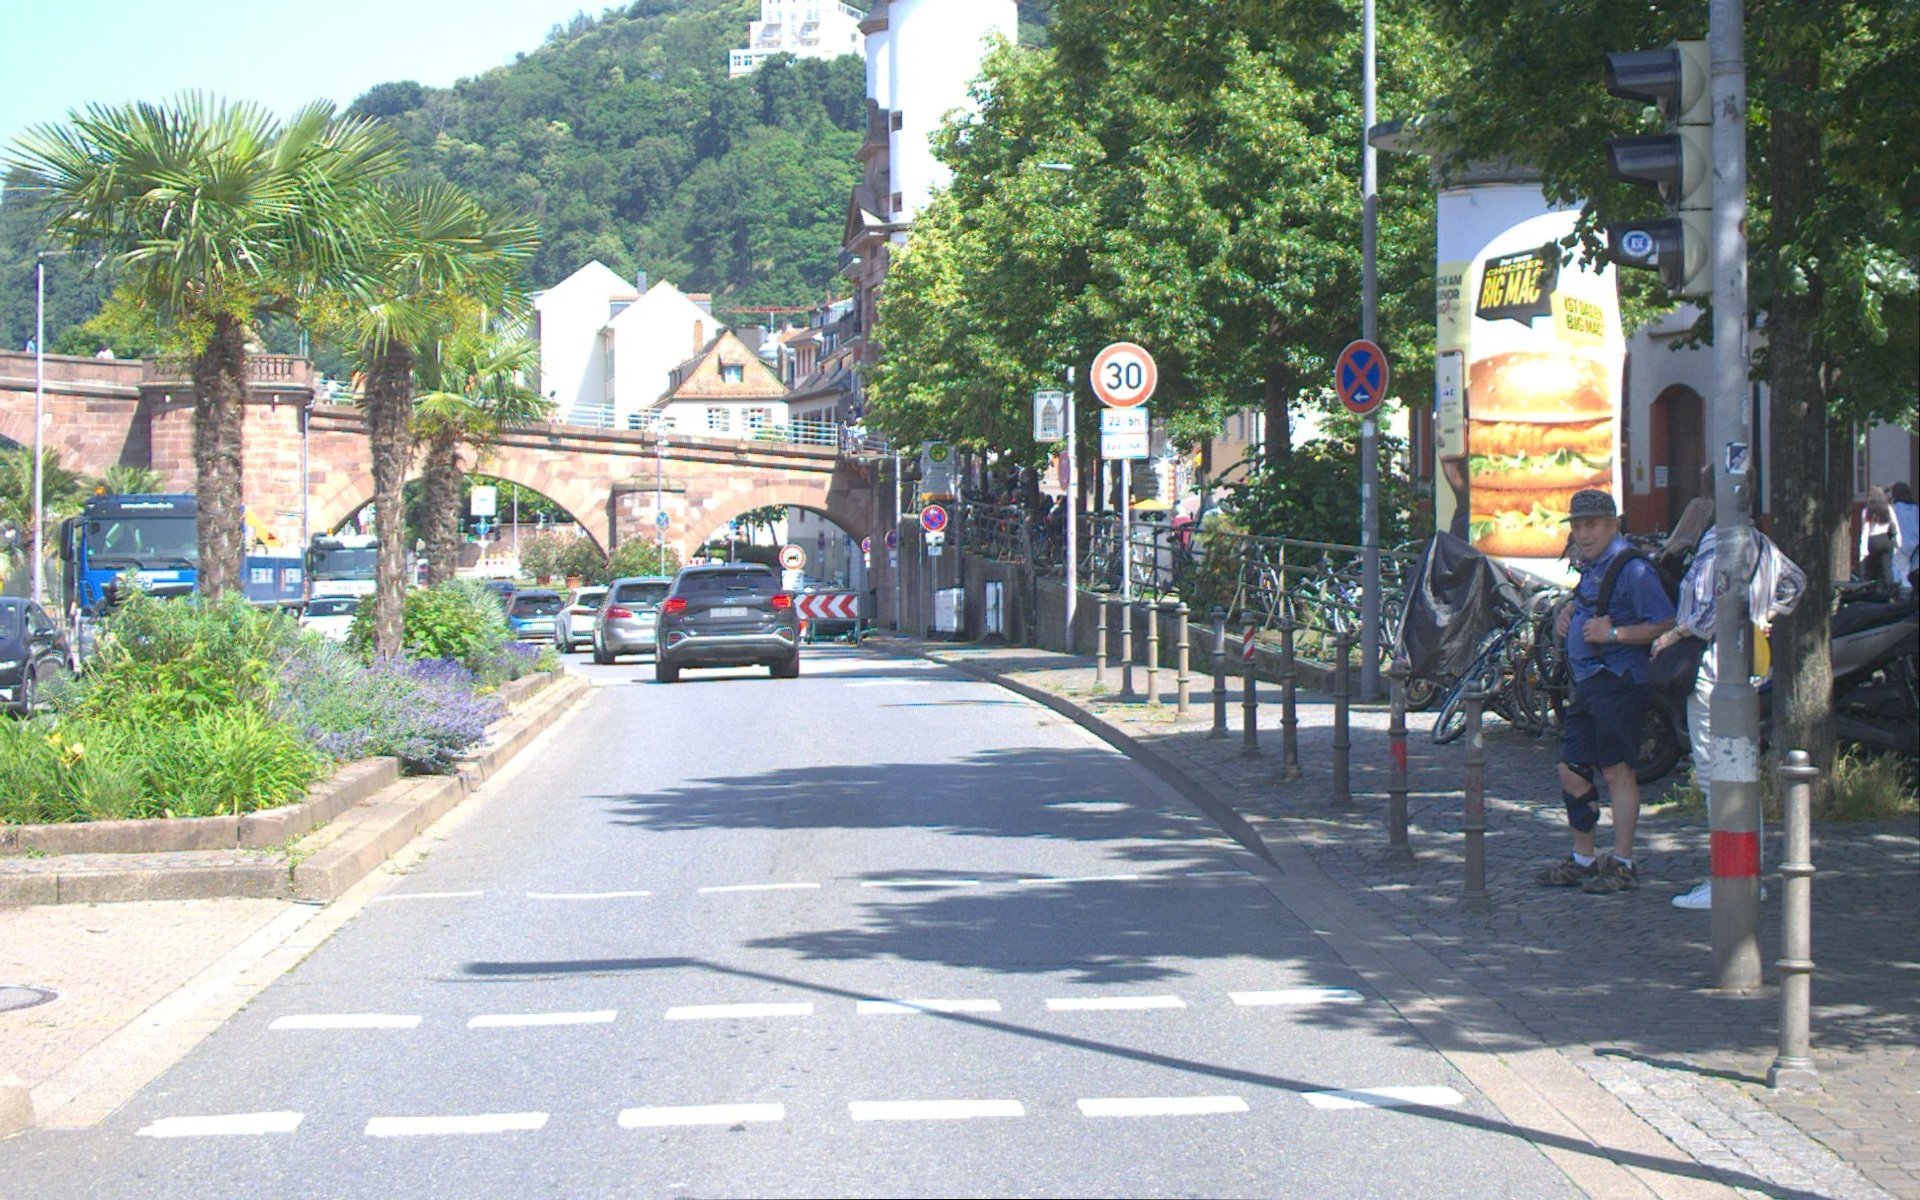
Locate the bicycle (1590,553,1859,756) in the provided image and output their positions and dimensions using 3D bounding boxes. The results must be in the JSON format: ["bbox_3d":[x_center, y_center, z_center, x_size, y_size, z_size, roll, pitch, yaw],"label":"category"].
[{"bbox_3d":[4.398,0.307,19.777,1.483,1.116,0.294,-2,1,-8],"label":"bicycle"}]

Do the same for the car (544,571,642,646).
[{"bbox_3d":[-8.319,0.174,78.296,1.993,1.548,4.833,0,2,-3],"label":"car"}]

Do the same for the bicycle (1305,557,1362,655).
[{"bbox_3d":[3.559,0.048,32.800,0.250,0.901,1.489,0,1,-5],"label":"bicycle"}]

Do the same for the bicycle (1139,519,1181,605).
[{"bbox_3d":[2.612,-0.501,44.973,0.345,1.092,1.489,1,1,-4],"label":"bicycle"}]

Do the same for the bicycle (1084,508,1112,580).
[{"bbox_3d":[2.117,-0.864,52.858,0.250,1.092,1.489,1,1,-4],"label":"bicycle"}]

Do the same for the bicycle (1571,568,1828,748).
[{"bbox_3d":[4.443,0.343,20.663,1.483,1.028,0.294,-2,1,-8],"label":"bicycle"}]

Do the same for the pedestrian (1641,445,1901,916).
[{"bbox_3d":[3.167,0.294,13.465,0.693,1.765,0.764,-2,2,-11],"label":"pedestrian"}]

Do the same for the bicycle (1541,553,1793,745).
[{"bbox_3d":[4.299,0.292,20.895,1.483,1.116,0.251,-2,1,-8],"label":"bicycle"}]

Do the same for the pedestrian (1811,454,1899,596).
[{"bbox_3d":[12.127,-1.017,46.604,0.968,1.908,0.747,0,1,-2],"label":"pedestrian"}]

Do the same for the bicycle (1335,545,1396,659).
[{"bbox_3d":[3.676,0.003,31.213,0.250,1.007,1.489,0,1,-5],"label":"bicycle"}]

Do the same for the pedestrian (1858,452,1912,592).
[{"bbox_3d":[13.358,-1.126,49.662,0.585,2.007,0.596,0,1,-4],"label":"pedestrian"}]

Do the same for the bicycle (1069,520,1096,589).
[{"bbox_3d":[1.958,-0.728,54.944,0.250,1.092,1.489,1,1,-4],"label":"bicycle"}]

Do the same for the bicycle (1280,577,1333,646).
[{"bbox_3d":[3.458,0.109,34.352,0.250,0.661,1.469,0,1,-5],"label":"bicycle"}]

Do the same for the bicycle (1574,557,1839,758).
[{"bbox_3d":[4.357,0.328,20.073,1.483,1.116,0.294,-2,1,-8],"label":"bicycle"}]

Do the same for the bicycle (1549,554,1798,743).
[{"bbox_3d":[4.393,0.294,21.172,1.483,1.116,0.251,-2,1,-8],"label":"bicycle"}]

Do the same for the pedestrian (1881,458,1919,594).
[{"bbox_3d":[12.919,-1.008,46.778,0.585,1.834,0.596,0,1,-4],"label":"pedestrian"}]

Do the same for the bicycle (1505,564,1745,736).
[{"bbox_3d":[4.241,0.314,21.923,1.483,1.043,0.251,-2,1,-8],"label":"bicycle"}]

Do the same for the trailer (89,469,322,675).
[{"bbox_3d":[-13.273,-0.561,61.153,2.657,3.391,8.828,0,1,-3],"label":"trailer"}]

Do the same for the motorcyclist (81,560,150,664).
[{"bbox_3d":[-12.136,0.171,49.443,0.736,1.465,1.011,0,1,0],"label":"motorcyclist"}]

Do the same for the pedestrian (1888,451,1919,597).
[{"bbox_3d":[13.246,-1.052,47.503,0.634,2.007,0.644,0,1,-3],"label":"pedestrian"}]

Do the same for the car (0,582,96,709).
[{"bbox_3d":[-11.635,0.552,40.457,1.952,1.408,4.219,-2,0,-2],"label":"car"}]

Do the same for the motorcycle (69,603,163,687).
[{"bbox_3d":[-12.143,0.633,49.546,0.757,1.128,2.456,0,1,0],"label":"motorcycle"}]

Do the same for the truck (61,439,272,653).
[{"bbox_3d":[-13.027,-0.909,56.782,2.657,3.391,4.450,0,1,-3],"label":"truck"}]

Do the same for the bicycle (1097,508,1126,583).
[{"bbox_3d":[2.242,-0.811,50.934,0.250,1.092,1.489,1,1,-4],"label":"bicycle"}]

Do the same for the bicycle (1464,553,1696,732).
[{"bbox_3d":[4.173,0.280,23.143,1.483,1.116,0.251,-3,1,-8],"label":"bicycle"}]

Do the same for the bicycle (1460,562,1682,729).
[{"bbox_3d":[4.167,0.308,23.443,1.483,1.116,0.251,-1,1,-8],"label":"bicycle"}]

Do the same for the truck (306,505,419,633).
[{"bbox_3d":[-16.195,-0.873,93.448,2.657,3.391,5.136,0,1,-6],"label":"truck"}]

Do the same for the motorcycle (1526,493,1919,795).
[{"bbox_3d":[4.108,0.217,17.530,2.296,1.460,0.763,-1,0,38],"label":"motorcycle"}]

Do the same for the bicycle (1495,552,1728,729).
[{"bbox_3d":[4.294,0.263,22.651,1.483,1.116,0.251,-2,1,-8],"label":"bicycle"}]

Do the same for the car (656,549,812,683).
[{"bbox_3d":[-2.984,0.166,45.367,1.926,1.548,4.833,-1,2,-4],"label":"car"}]

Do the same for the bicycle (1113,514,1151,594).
[{"bbox_3d":[2.428,-0.656,48.538,0.275,1.092,1.489,-5,1,-4],"label":"bicycle"}]

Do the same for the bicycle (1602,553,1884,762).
[{"bbox_3d":[4.386,0.315,19.277,1.483,1.116,0.378,-2,1,-8],"label":"bicycle"}]

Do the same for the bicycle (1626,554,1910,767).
[{"bbox_3d":[4.439,0.325,18.898,1.483,1.116,0.294,-2,1,-5],"label":"bicycle"}]

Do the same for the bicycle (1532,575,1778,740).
[{"bbox_3d":[4.333,0.351,21.439,1.483,0.975,0.251,-2,1,-8],"label":"bicycle"}]

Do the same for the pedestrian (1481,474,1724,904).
[{"bbox_3d":[2.599,0.340,13.972,0.693,1.671,0.764,-2,2,-11],"label":"pedestrian"}]

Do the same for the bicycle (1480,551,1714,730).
[{"bbox_3d":[4.239,0.263,22.869,1.483,1.116,0.251,-3,1,-8],"label":"bicycle"}]

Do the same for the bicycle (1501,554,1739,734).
[{"bbox_3d":[4.255,0.278,22.171,1.483,1.116,0.251,-2,1,-8],"label":"bicycle"}]

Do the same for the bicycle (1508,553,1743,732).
[{"bbox_3d":[4.344,0.270,22.435,1.483,1.116,0.251,-2,1,-8],"label":"bicycle"}]

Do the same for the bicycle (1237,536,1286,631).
[{"bbox_3d":[3.277,-0.189,37.388,0.250,0.997,1.489,1,1,-5],"label":"bicycle"}]

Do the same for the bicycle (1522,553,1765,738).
[{"bbox_3d":[4.310,0.279,21.683,1.483,1.116,0.251,-2,1,-8],"label":"bicycle"}]

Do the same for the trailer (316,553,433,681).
[{"bbox_3d":[-16.762,0.395,98.944,2.657,3.391,10.171,0,1,-6],"label":"trailer"}]

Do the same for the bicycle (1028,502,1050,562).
[{"bbox_3d":[1.467,-1.247,63.547,0.356,1.092,1.489,2,1,2],"label":"bicycle"}]

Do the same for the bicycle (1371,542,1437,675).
[{"bbox_3d":[3.824,0.063,29.679,0.250,1.116,1.489,0,1,-5],"label":"bicycle"}]
